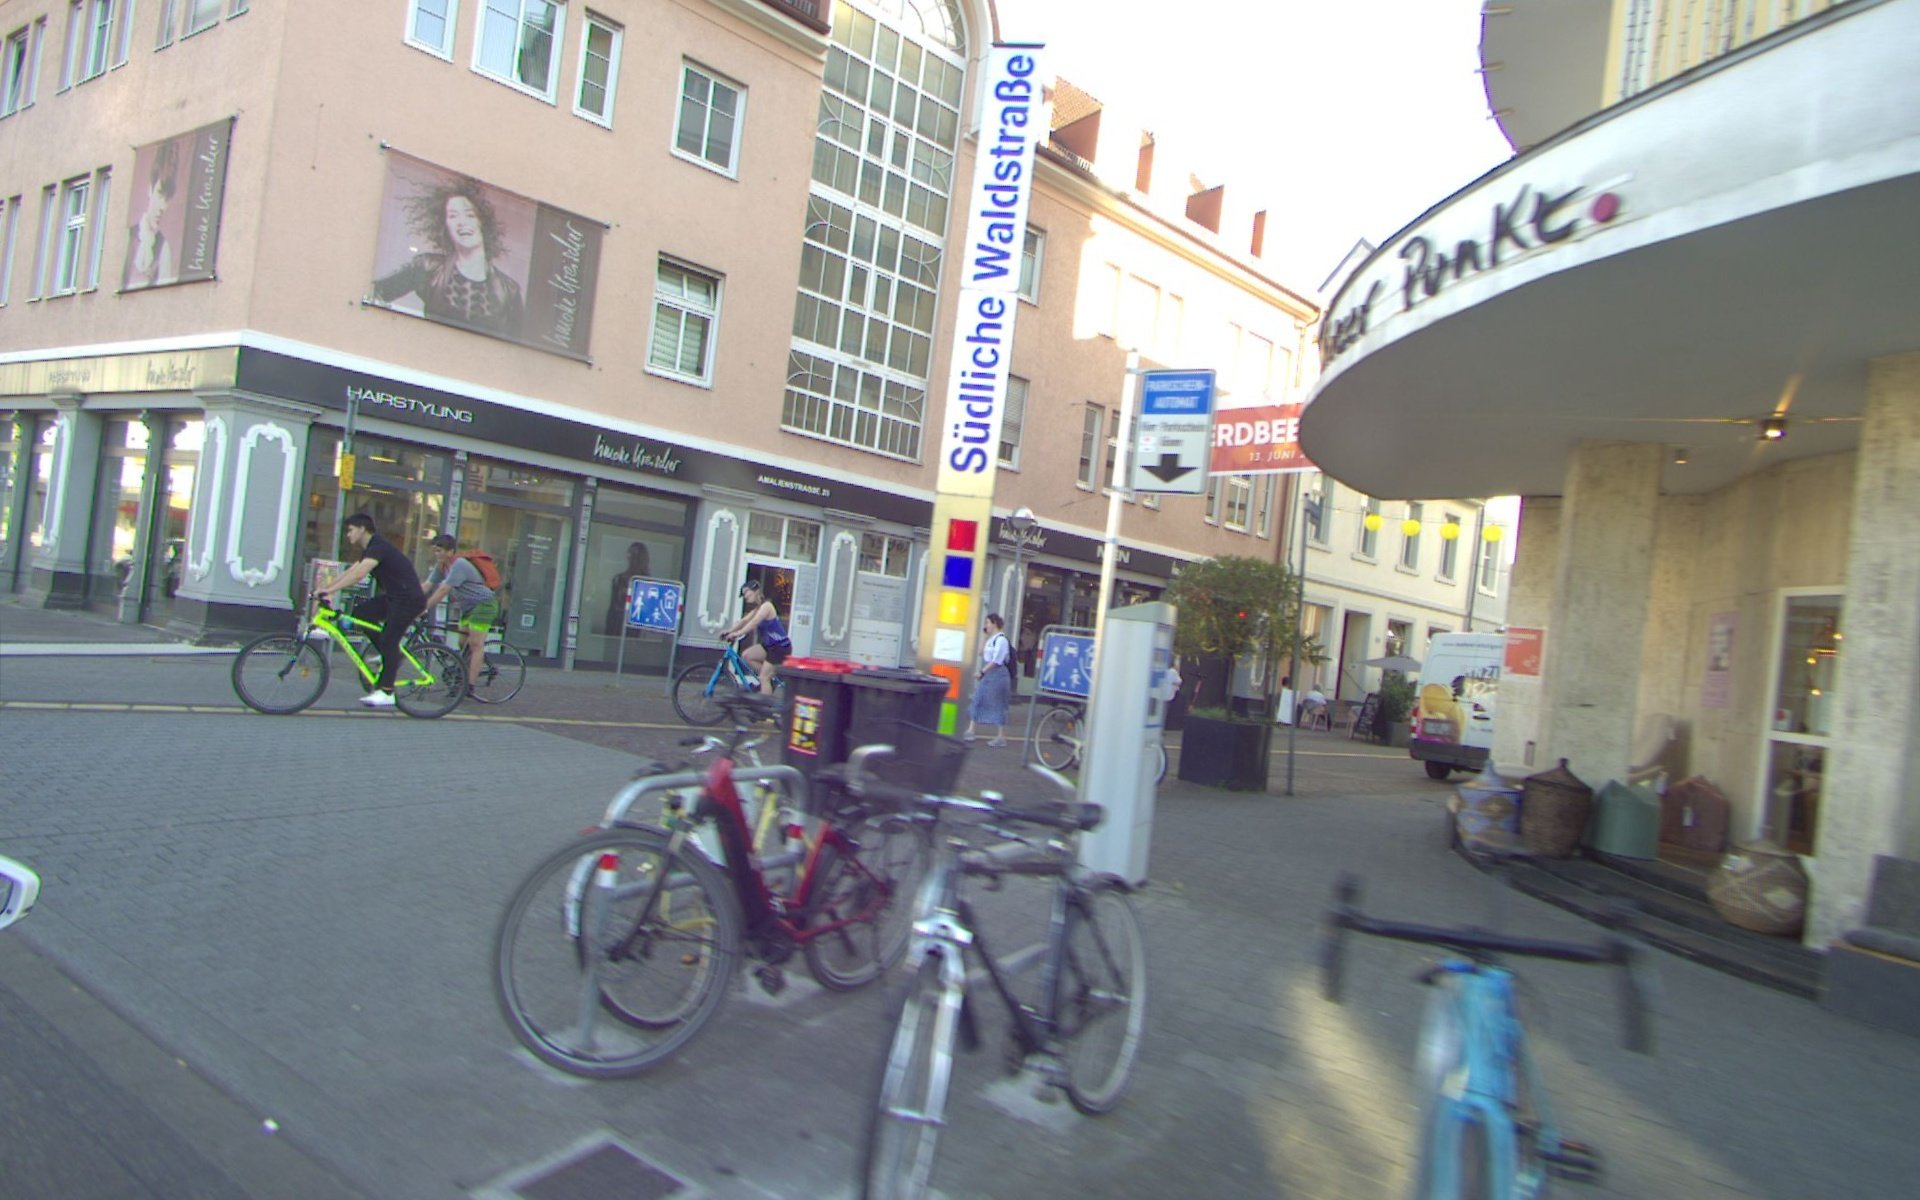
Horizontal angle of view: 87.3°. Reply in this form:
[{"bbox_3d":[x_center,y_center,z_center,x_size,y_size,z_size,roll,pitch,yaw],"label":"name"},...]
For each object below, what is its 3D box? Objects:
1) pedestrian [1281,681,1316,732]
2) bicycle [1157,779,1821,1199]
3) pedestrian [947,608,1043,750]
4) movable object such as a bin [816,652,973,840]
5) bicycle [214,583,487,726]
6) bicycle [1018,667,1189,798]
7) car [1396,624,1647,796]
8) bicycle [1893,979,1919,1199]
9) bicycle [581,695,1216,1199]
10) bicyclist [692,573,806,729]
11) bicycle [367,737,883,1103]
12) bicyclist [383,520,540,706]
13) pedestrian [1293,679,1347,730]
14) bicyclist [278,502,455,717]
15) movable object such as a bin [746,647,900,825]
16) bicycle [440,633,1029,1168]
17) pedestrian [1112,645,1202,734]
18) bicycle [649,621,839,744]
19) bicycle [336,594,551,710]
[{"bbox_3d":[9.342,2.931,27.796,0.759,1.265,0.819,7,0,19],"label":"pedestrian"},{"bbox_3d":[1.113,1.106,2.191,0.742,1.171,1.960,7,-1,32],"label":"bicycle"},{"bbox_3d":[0.439,0.993,12.868,0.805,1.678,0.762,8,-1,-22],"label":"pedestrian"},{"bbox_3d":[-0.433,0.978,6.905,0.610,1.125,0.810,6,-2,30],"label":"movable object such as a bin"},{"bbox_3d":[-5.276,0.499,8.826,1.896,1.031,0.556,8,-1,-32],"label":"bicycle"},{"bbox_3d":[1.493,1.371,10.706,0.558,1.101,1.729,7,-1,-43],"label":"bicycle"},{"bbox_3d":[9.853,1.960,17.506,4.660,2.496,2.049,9,-4,-38],"label":"car"},{"bbox_3d":[2.295,1.192,1.621,0.704,1.164,2.024,7,0,32],"label":"bicycle"},{"bbox_3d":[0.065,0.949,2.811,0.698,1.259,2.142,7,-1,26],"label":"bicycle"},{"bbox_3d":[-2.395,0.572,11.360,1.016,1.602,0.723,7,-1,-19],"label":"bicyclist"},{"bbox_3d":[-1.111,1.047,3.856,0.728,0.841,1.847,7,-1,25],"label":"bicycle"},{"bbox_3d":[-5.189,0.143,10.486,1.134,1.782,0.744,8,-1,-42],"label":"bicyclist"},{"bbox_3d":[9.700,2.818,27.121,1.121,1.206,0.810,8,-1,-40],"label":"pedestrian"},{"bbox_3d":[-5.187,0.098,8.831,1.121,1.705,0.720,7,-1,-32],"label":"bicyclist"},{"bbox_3d":[-0.963,0.953,7.207,0.610,1.125,0.810,6,-1,30],"label":"movable object such as a bin"},{"bbox_3d":[-0.602,0.826,3.571,0.916,1.226,1.946,7,-1,25],"label":"bicycle"},{"bbox_3d":[3.690,1.670,18.823,1.077,1.497,1.099,8,-2,-42],"label":"pedestrian"},{"bbox_3d":[-2.402,0.912,11.255,1.890,1.109,0.732,8,-1,-14],"label":"bicycle"},{"bbox_3d":[-5.306,0.558,10.415,1.809,1.005,0.558,9,-2,-41],"label":"bicycle"}]
